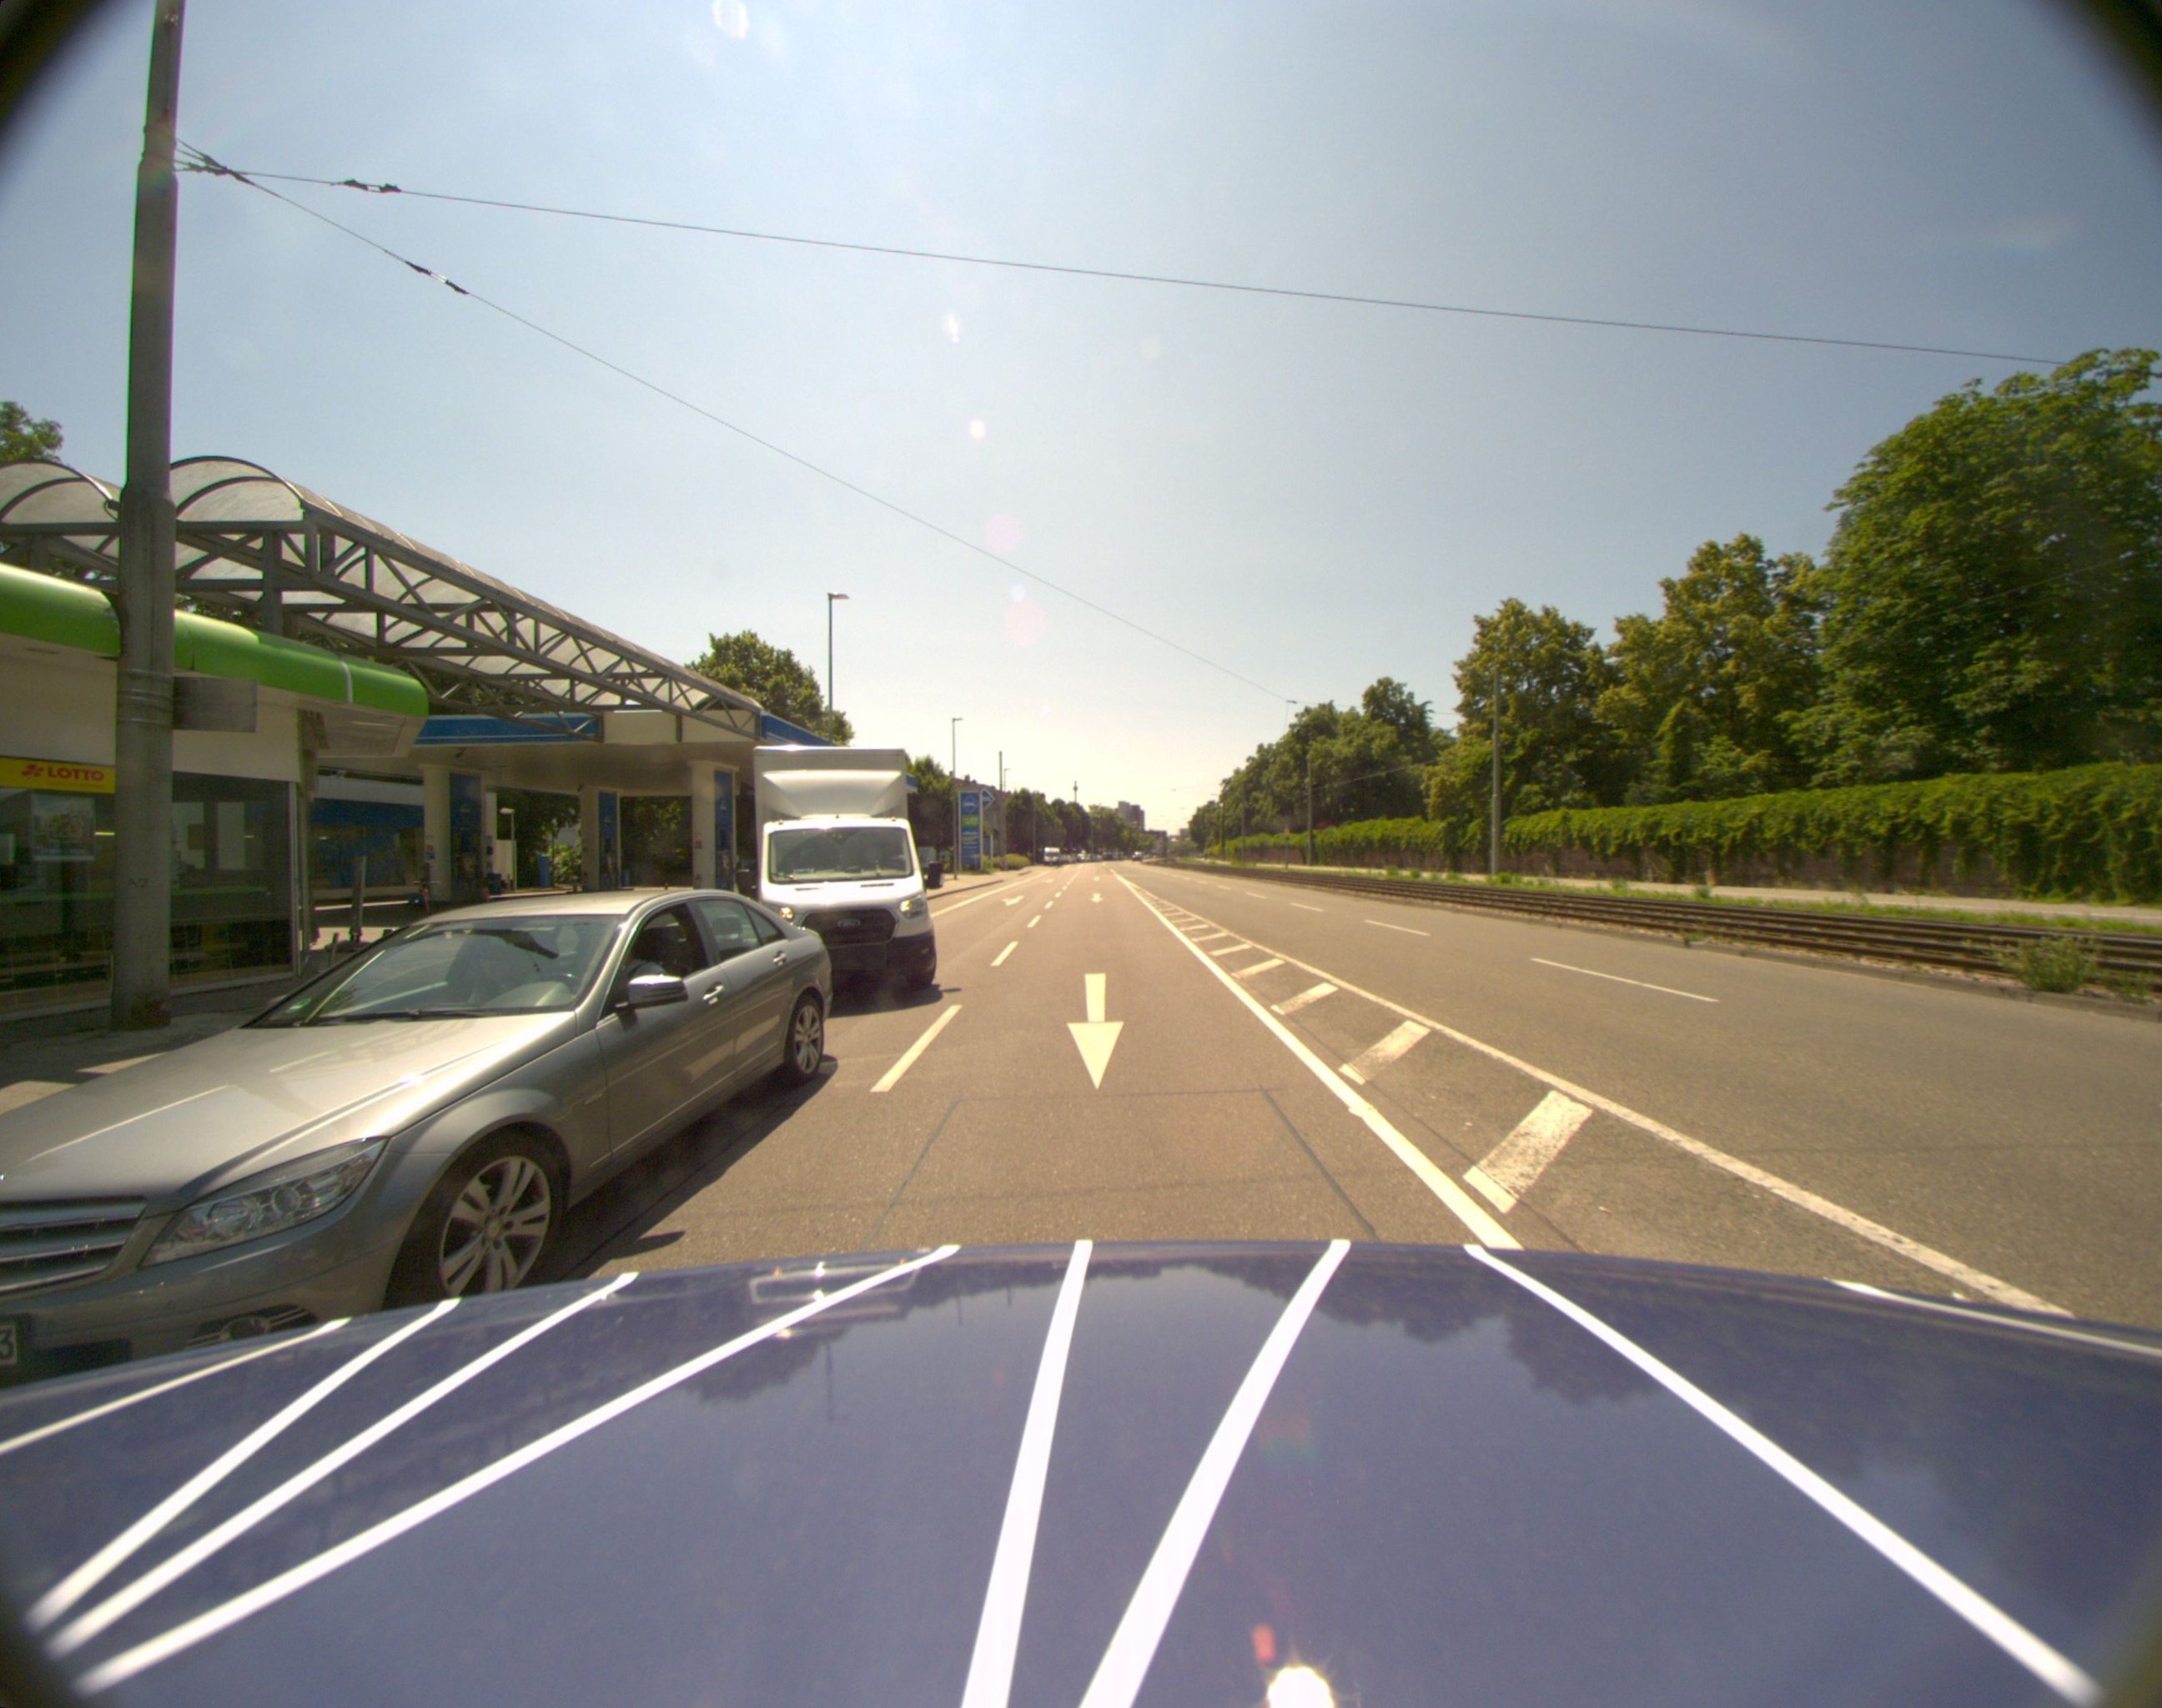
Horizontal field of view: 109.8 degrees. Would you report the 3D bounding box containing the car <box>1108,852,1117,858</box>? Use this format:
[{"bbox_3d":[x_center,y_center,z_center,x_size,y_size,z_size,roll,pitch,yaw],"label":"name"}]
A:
[{"bbox_3d":[8.344,0.335,203.034,1.911,1.488,4.002,-2,1,10],"label":"car"}]

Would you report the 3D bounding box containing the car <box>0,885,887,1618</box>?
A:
[{"bbox_3d":[-2.783,1.055,4.409,1.717,1.464,5.302,-3,0,2],"label":"car"}]

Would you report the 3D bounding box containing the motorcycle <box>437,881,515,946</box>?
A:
[{"bbox_3d":[-11.574,1.130,14.553,1.157,1.203,0.364,1,-1,-1],"label":"motorcycle"}]

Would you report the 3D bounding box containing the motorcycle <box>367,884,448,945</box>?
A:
[{"bbox_3d":[-12.838,1.142,14.499,1.157,1.107,0.396,1,-1,-1],"label":"motorcycle"}]

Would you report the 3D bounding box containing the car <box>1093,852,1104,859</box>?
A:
[{"bbox_3d":[4.085,0.297,176.982,1.911,1.488,4.002,-2,1,10],"label":"car"}]

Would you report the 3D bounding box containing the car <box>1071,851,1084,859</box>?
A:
[{"bbox_3d":[-0.624,0.185,139.069,1.912,1.488,4.001,-2,1,4],"label":"car"}]

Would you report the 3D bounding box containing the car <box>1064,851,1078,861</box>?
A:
[{"bbox_3d":[-1.648,0.281,126.596,1.912,1.488,4.001,-2,1,4],"label":"car"}]

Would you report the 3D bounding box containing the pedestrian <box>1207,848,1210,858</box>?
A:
[{"bbox_3d":[22.560,-0.194,134.140,0.453,1.655,0.302,-2,0,1],"label":"pedestrian"}]

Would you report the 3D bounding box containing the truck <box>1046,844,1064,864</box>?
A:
[{"bbox_3d":[-3.448,-0.020,101.371,1.998,2.462,5.237,-2,1,1],"label":"truck"}]

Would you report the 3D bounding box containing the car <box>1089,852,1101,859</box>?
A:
[{"bbox_3d":[3.210,0.384,172.142,1.911,1.488,4.002,-2,1,10],"label":"car"}]

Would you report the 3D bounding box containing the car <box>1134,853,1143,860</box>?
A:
[{"bbox_3d":[12.308,0.573,163.029,1.801,1.488,3.965,-2,0,7],"label":"car"}]

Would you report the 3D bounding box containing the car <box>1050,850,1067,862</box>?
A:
[{"bbox_3d":[-3.245,0.279,110.002,1.912,1.488,4.001,-2,1,4],"label":"car"}]

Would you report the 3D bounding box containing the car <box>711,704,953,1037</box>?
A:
[{"bbox_3d":[-3.922,0.144,12.003,2.232,3.316,8.622,-3,1,-19],"label":"car"}]
